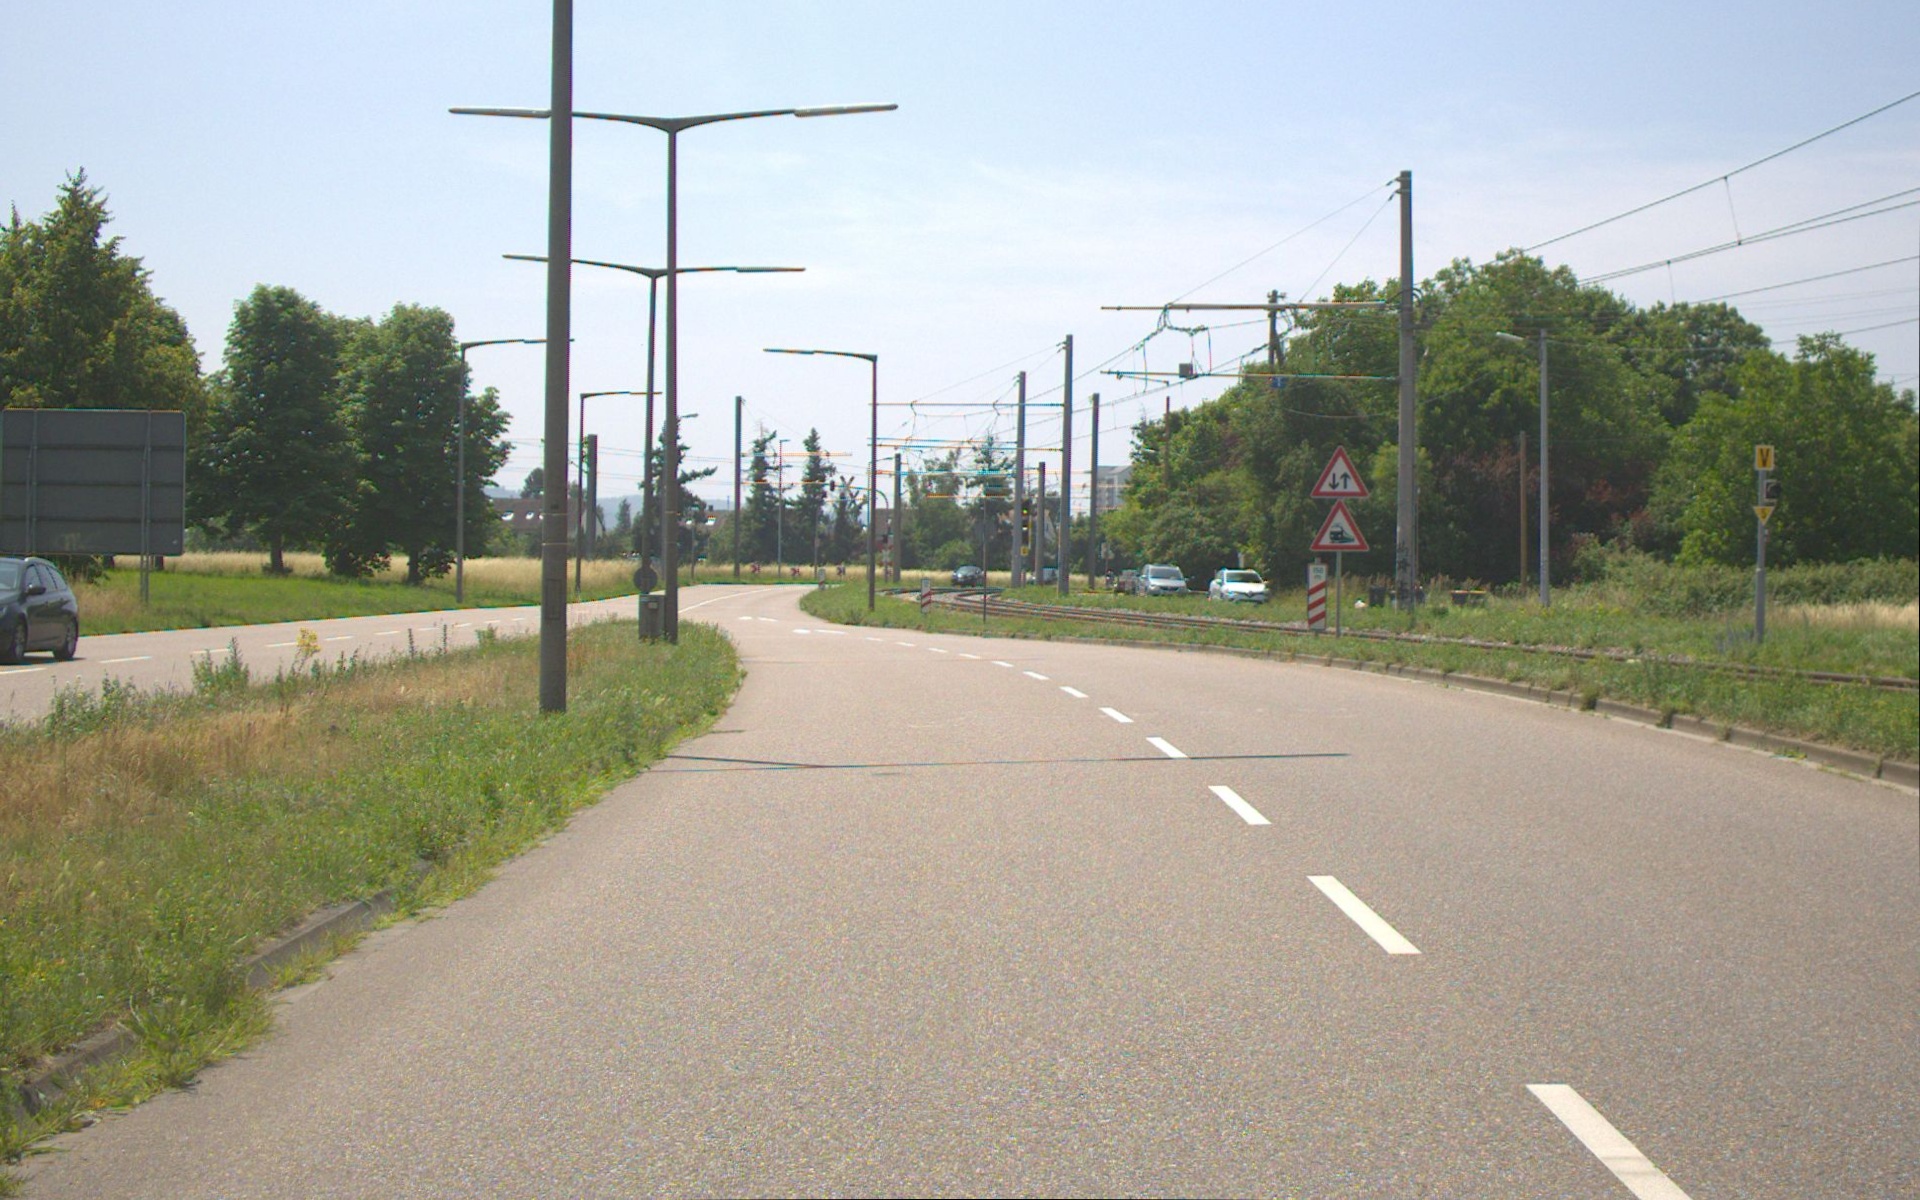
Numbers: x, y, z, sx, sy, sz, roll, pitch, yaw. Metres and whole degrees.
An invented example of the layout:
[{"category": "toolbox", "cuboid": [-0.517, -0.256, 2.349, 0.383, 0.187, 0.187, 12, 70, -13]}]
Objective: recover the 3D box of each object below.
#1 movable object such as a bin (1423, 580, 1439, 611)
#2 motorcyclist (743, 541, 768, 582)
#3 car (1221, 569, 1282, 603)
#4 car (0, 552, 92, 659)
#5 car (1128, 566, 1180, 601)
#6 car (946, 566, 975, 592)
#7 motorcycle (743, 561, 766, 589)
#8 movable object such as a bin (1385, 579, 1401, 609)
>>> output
[{"category": "movable object such as a bin", "cuboid": [16.103, -0.151, 117.630, 0.525, 1.046, 0.499, 1, 0, 6]}, {"category": "motorcyclist", "cuboid": [-11.976, -2.266, 201.201, 1.231, 2.343, 1.106, 2, 0, 2]}, {"category": "car", "cuboid": [10.453, -0.498, 123.513, 1.562, 1.175, 3.080, 0, 1, -7]}, {"category": "car", "cuboid": [-13.195, 0.036, 46.465, 1.993, 1.355, 4.666, 1, 1, -3]}, {"category": "car", "cuboid": [8.290, -0.710, 147.108, 1.671, 1.392, 3.651, 3, 0, -5]}, {"category": "car", "cuboid": [0.045, -1.534, 248.189, 1.404, 1.765, 3.252, 2, 0, 12]}, {"category": "motorcycle", "cuboid": [-12.018, -1.453, 200.913, 0.989, 1.575, 3.400, 2, 0, 2]}, {"category": "movable object such as a bin", "cuboid": [14.843, -0.206, 117.800, 0.525, 1.046, 0.499, 1, 0, 6]}]
